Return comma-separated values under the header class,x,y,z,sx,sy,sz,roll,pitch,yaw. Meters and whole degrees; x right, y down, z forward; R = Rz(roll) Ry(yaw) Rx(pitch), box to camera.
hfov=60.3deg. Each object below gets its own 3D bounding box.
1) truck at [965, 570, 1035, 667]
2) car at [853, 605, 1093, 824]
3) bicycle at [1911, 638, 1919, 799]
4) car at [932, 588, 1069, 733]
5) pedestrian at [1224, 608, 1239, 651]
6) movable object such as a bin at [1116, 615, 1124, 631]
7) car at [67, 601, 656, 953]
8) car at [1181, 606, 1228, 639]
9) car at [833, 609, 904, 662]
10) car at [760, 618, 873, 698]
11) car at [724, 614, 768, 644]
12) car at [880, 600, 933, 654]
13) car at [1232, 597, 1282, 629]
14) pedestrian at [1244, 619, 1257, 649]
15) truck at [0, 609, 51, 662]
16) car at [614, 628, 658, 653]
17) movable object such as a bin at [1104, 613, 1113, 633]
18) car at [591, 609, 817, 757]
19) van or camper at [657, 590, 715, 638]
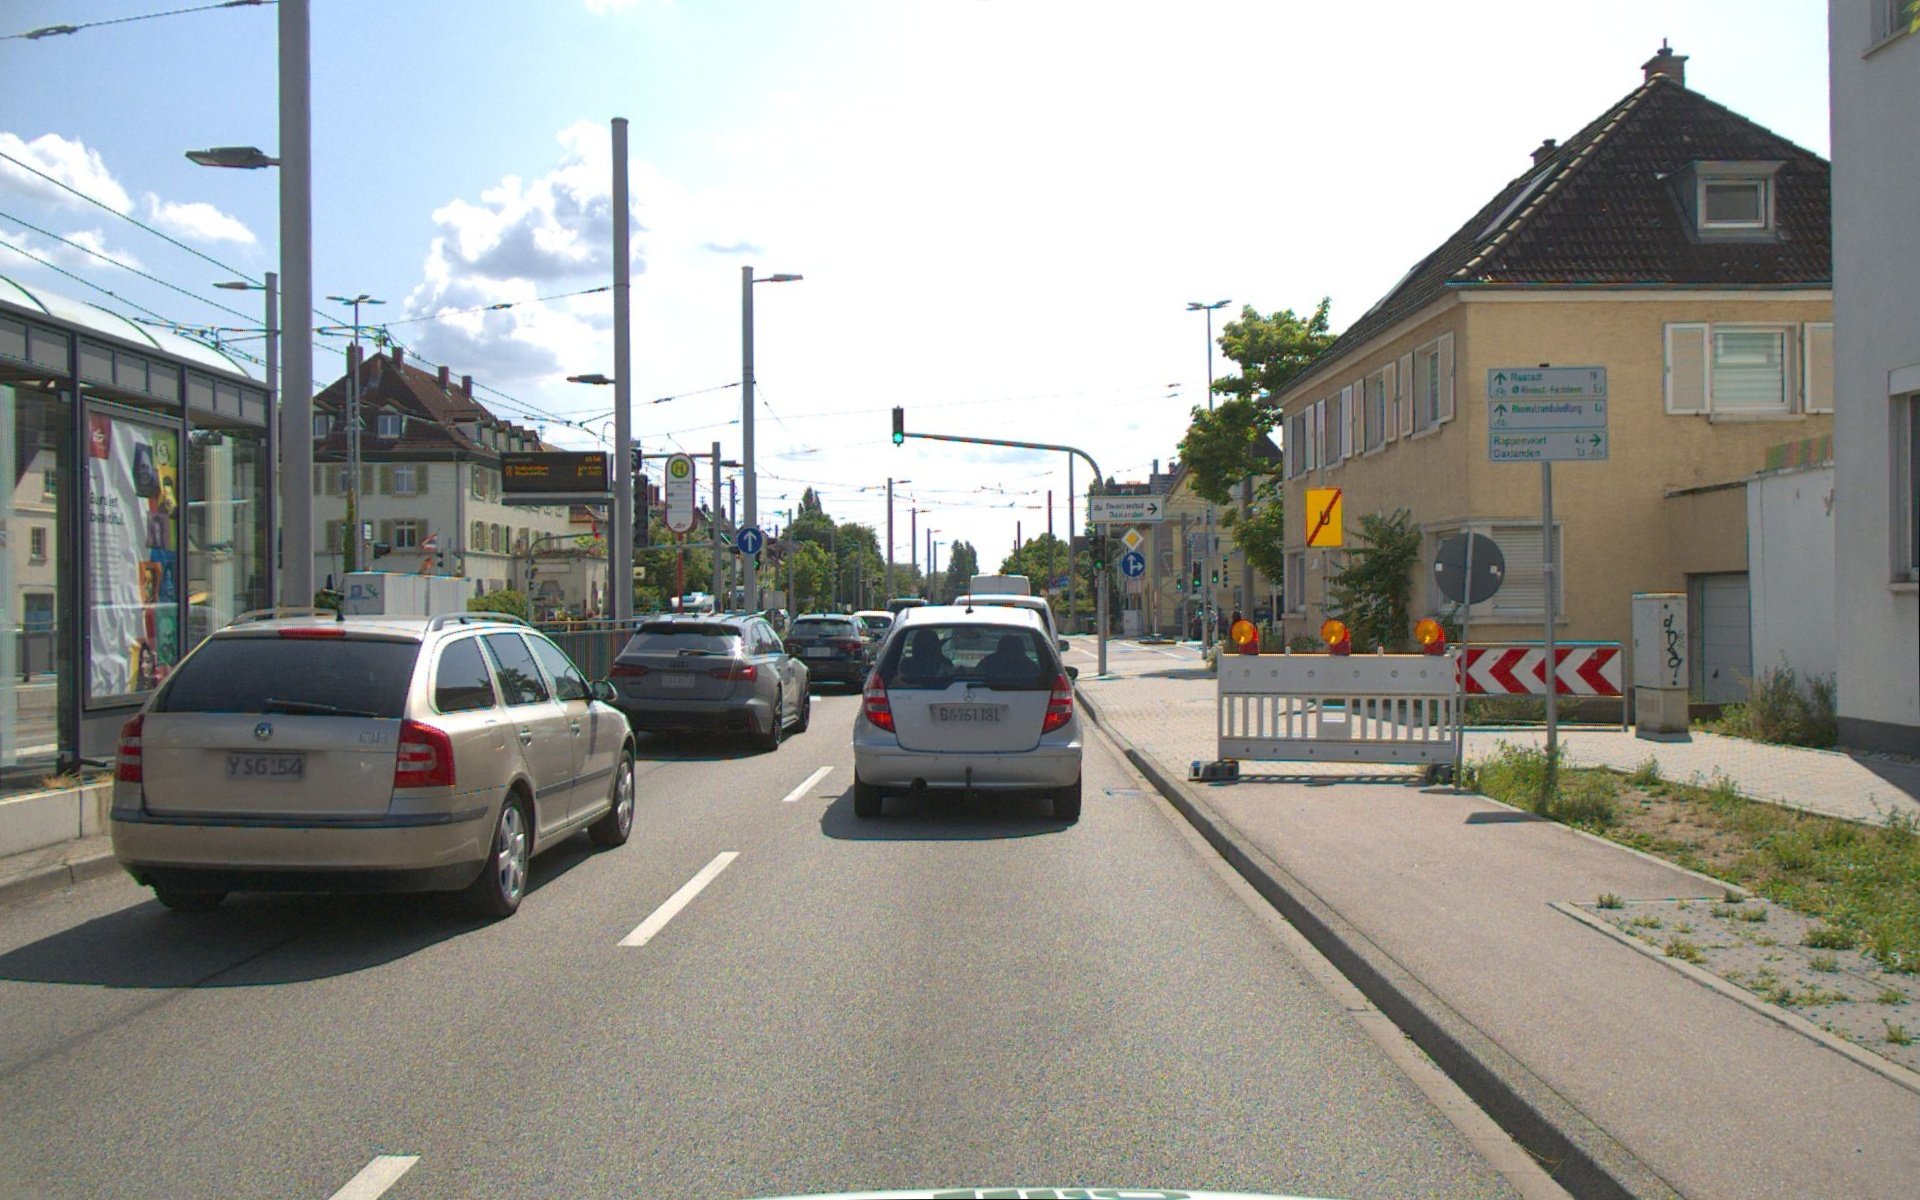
class,x,y,z,sx,sy,sz,roll,pitch,yaw
truck,1.097,0.554,48.124,1.814,2.597,5.853,1,-1,-1
car,0.058,0.858,13.871,1.695,1.543,4.015,1,-1,-1
bicycle,7.010,0.796,10.392,0.812,1.094,1.969,-2,0,-4
car,0.478,0.802,22.899,1.695,1.793,4.015,1,-1,-1
pedestrian,10.758,1.176,65.612,0.535,1.672,0.401,1,-1,6
movable object such as a bin,9.966,1.434,103.210,0.458,0.963,0.558,-1,-1,1
car,-2.933,0.792,9.133,1.695,1.474,4.123,1,-1,0
car,12.771,1.184,86.557,1.952,1.624,4.131,1,-1,1
car,-2.581,1.014,47.333,1.814,1.413,3.917,1,-1,-1
car,-2.704,1.085,32.151,1.814,1.413,4.513,1,-1,-1
car,-13.913,1.867,107.776,1.952,1.807,4.880,-2,0,3
car,-1.898,0.974,59.708,1.814,1.875,3.917,1,-1,-1
car,15.549,0.699,86.669,1.952,1.624,4.131,1,-1,1
pedestrian,11.566,1.353,65.810,0.477,1.156,0.389,1,-1,4
truck,-37.799,1.289,62.433,6.055,1.955,1.690,1,-1,4
car,-18.615,2.344,95.186,1.650,1.375,4.344,1,-1,0
movable object such as a bin,8.762,1.354,97.459,0.501,1.124,0.855,0,-1,2
car,-2.868,0.894,19.532,1.877,1.503,4.562,1,-1,1
van or camper,-17.977,0.954,109.041,2.276,2.981,7.755,-2,-1,2
